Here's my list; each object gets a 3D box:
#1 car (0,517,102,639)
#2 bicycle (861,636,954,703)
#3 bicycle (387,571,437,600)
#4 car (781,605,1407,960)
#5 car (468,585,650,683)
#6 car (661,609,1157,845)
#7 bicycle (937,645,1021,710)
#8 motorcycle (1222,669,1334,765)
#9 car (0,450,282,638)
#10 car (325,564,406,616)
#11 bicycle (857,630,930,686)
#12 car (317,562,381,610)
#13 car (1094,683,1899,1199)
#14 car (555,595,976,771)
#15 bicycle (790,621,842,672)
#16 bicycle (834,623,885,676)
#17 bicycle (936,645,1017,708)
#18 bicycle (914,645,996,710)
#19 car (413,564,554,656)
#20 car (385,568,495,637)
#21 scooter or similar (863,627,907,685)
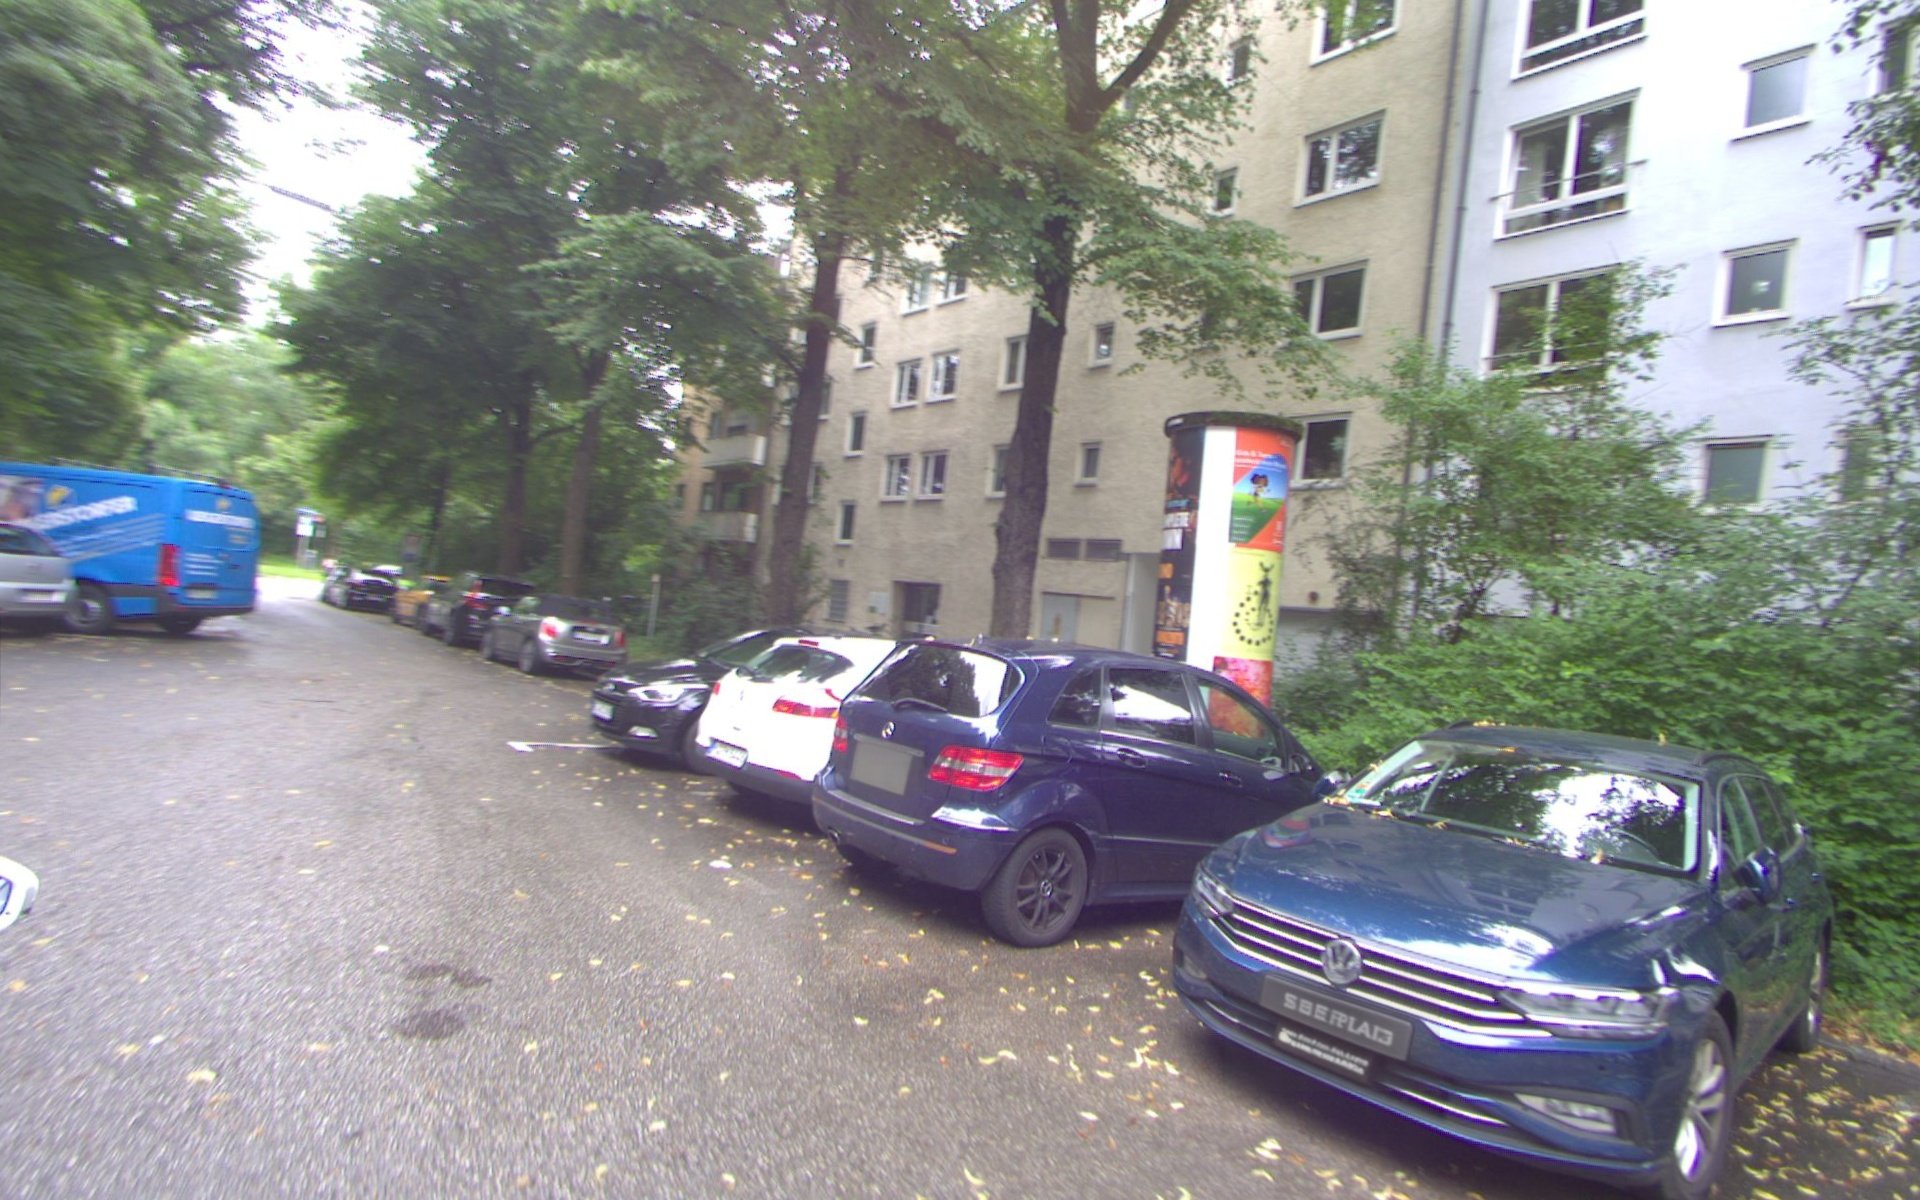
[{"bbox_3d":[-13.194,-0.407,12.480,3.489,1.450,1.644,5,-1,-3],"label":"car"},{"bbox_3d":[-0.973,1.341,19.127,0.532,1.137,1.870,6,-2,39],"label":"bicycle"},{"bbox_3d":[-22.773,-0.602,41.804,1.738,0.993,0.271,7,-1,-30],"label":"bicycle"},{"bbox_3d":[1.059,1.081,6.629,3.954,1.573,1.738,8,-2,-39],"label":"car"},{"bbox_3d":[-7.712,0.589,19.105,1.890,1.430,4.383,6,-2,-39],"label":"car"},{"bbox_3d":[-0.274,1.055,8.658,3.923,1.464,1.805,8,-2,-43],"label":"car"},{"bbox_3d":[0.399,1.553,19.929,0.532,1.137,1.870,6,-2,39],"label":"bicycle"},{"bbox_3d":[4.535,1.672,14.293,0.682,1.212,1.798,6,-2,44],"label":"motorcycle"},{"bbox_3d":[-13.480,-0.850,14.759,5.394,2.382,2.066,5,-1,-4],"label":"car"},{"bbox_3d":[-20.314,-0.369,34.297,1.675,1.373,3.966,9,-2,-39],"label":"car"},{"bbox_3d":[-1.505,1.351,23.188,0.439,1.137,1.943,6,-2,35],"label":"bicycle"},{"bbox_3d":[-22.878,-0.553,37.636,1.639,1.491,3.608,8,-2,-36],"label":"car"},{"bbox_3d":[2.950,1.332,4.856,4.704,1.393,1.937,8,-2,-43],"label":"car"},{"bbox_3d":[-1.881,0.926,10.702,1.712,1.410,4.075,5,-2,43],"label":"car"},{"bbox_3d":[-3.402,1.121,23.873,0.437,1.137,1.773,7,-2,15],"label":"bicycle"},{"bbox_3d":[-2.302,1.166,23.300,0.437,1.137,1.773,7,-2,15],"label":"bicycle"},{"bbox_3d":[0.341,1.643,21.714,1.747,1.137,0.444,6,-1,41],"label":"bicycle"},{"bbox_3d":[-0.121,1.625,21.313,1.747,1.137,0.444,6,-1,41],"label":"bicycle"},{"bbox_3d":[-10.952,0.178,22.950,1.823,1.648,4.479,8,-2,-38],"label":"car"},{"bbox_3d":[-13.957,0.035,26.916,1.613,1.429,3.736,8,-2,-42],"label":"car"},{"bbox_3d":[-1.828,1.355,24.425,0.382,1.267,1.125,7,-1,-38],"label":"scooter or similar"}]
